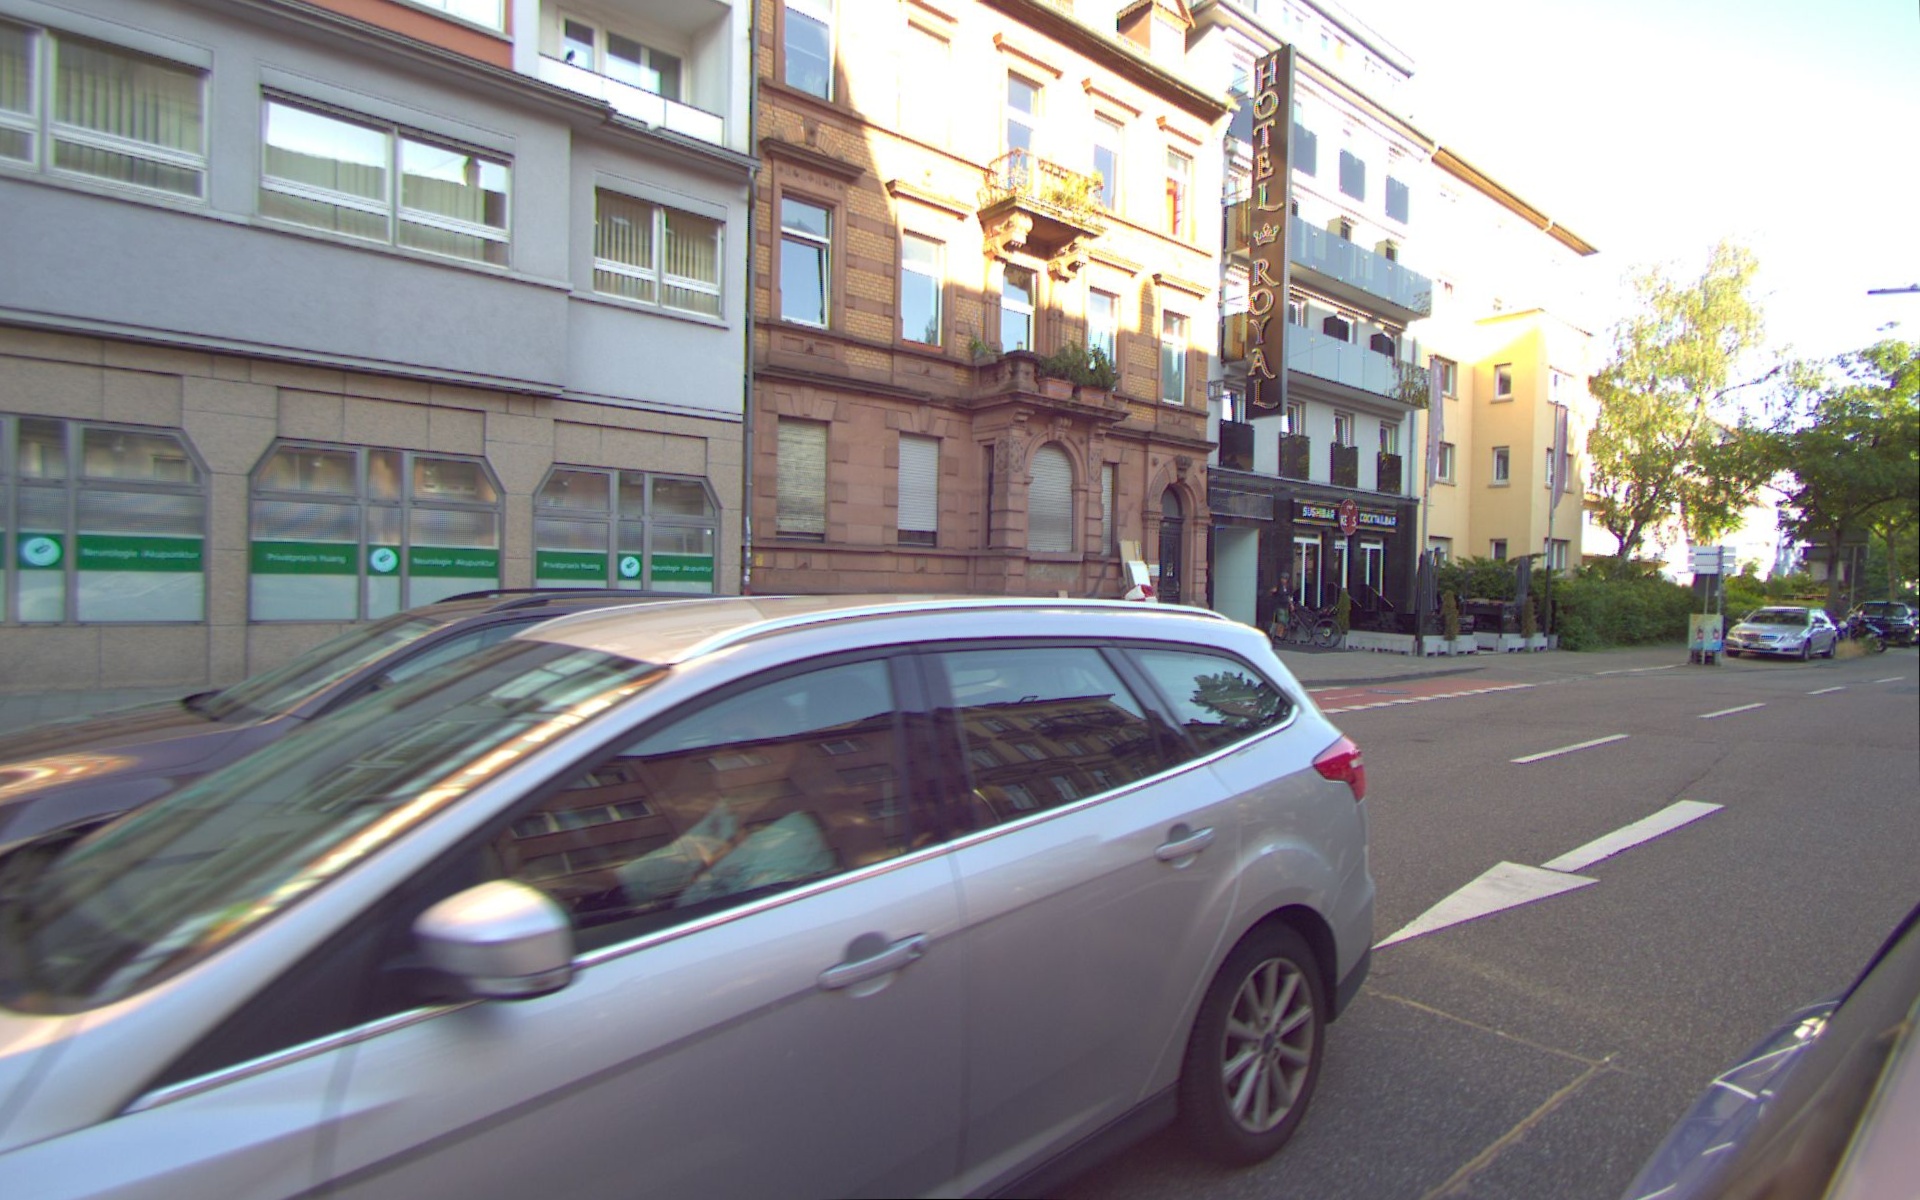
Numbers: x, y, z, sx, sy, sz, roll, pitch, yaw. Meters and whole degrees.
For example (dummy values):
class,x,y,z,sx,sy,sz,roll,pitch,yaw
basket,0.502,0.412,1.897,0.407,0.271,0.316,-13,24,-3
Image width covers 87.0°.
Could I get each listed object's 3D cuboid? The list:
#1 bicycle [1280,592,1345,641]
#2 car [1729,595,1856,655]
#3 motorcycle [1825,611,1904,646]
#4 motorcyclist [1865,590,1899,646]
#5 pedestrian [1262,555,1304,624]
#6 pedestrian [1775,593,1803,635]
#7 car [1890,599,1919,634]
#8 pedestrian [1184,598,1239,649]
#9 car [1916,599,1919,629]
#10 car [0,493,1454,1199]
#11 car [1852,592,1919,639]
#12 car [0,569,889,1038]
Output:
class,x,y,z,sx,sy,sz,roll,pitch,yaw
bicycle,8.813,0.399,25.313,1.416,1.124,0.483,5,2,34
car,24.246,0.686,29.417,4.746,1.531,1.861,0,3,-38
motorcycle,30.290,0.943,33.931,1.922,1.084,0.809,2,1,39
motorcyclist,30.673,0.584,33.691,0.735,1.800,1.073,1,1,39
pedestrian,8.004,-0.258,25.055,0.681,1.664,0.708,1,1,-40
pedestrian,33.206,0.558,40.551,0.569,1.636,0.747,1,1,-41
car,42.936,0.725,45.114,4.355,1.490,1.719,0,2,-42
pedestrian,5.365,0.493,21.602,0.927,1.056,0.693,1,1,-37
car,48.139,0.717,49.309,4.405,1.466,1.774,0,2,-40
car,-0.633,0.652,2.442,4.232,1.529,1.711,0,0,-40
car,36.428,0.574,39.387,4.712,1.675,1.951,0,1,-41
car,-2.498,0.637,4.774,4.084,1.475,1.711,0,1,-40
